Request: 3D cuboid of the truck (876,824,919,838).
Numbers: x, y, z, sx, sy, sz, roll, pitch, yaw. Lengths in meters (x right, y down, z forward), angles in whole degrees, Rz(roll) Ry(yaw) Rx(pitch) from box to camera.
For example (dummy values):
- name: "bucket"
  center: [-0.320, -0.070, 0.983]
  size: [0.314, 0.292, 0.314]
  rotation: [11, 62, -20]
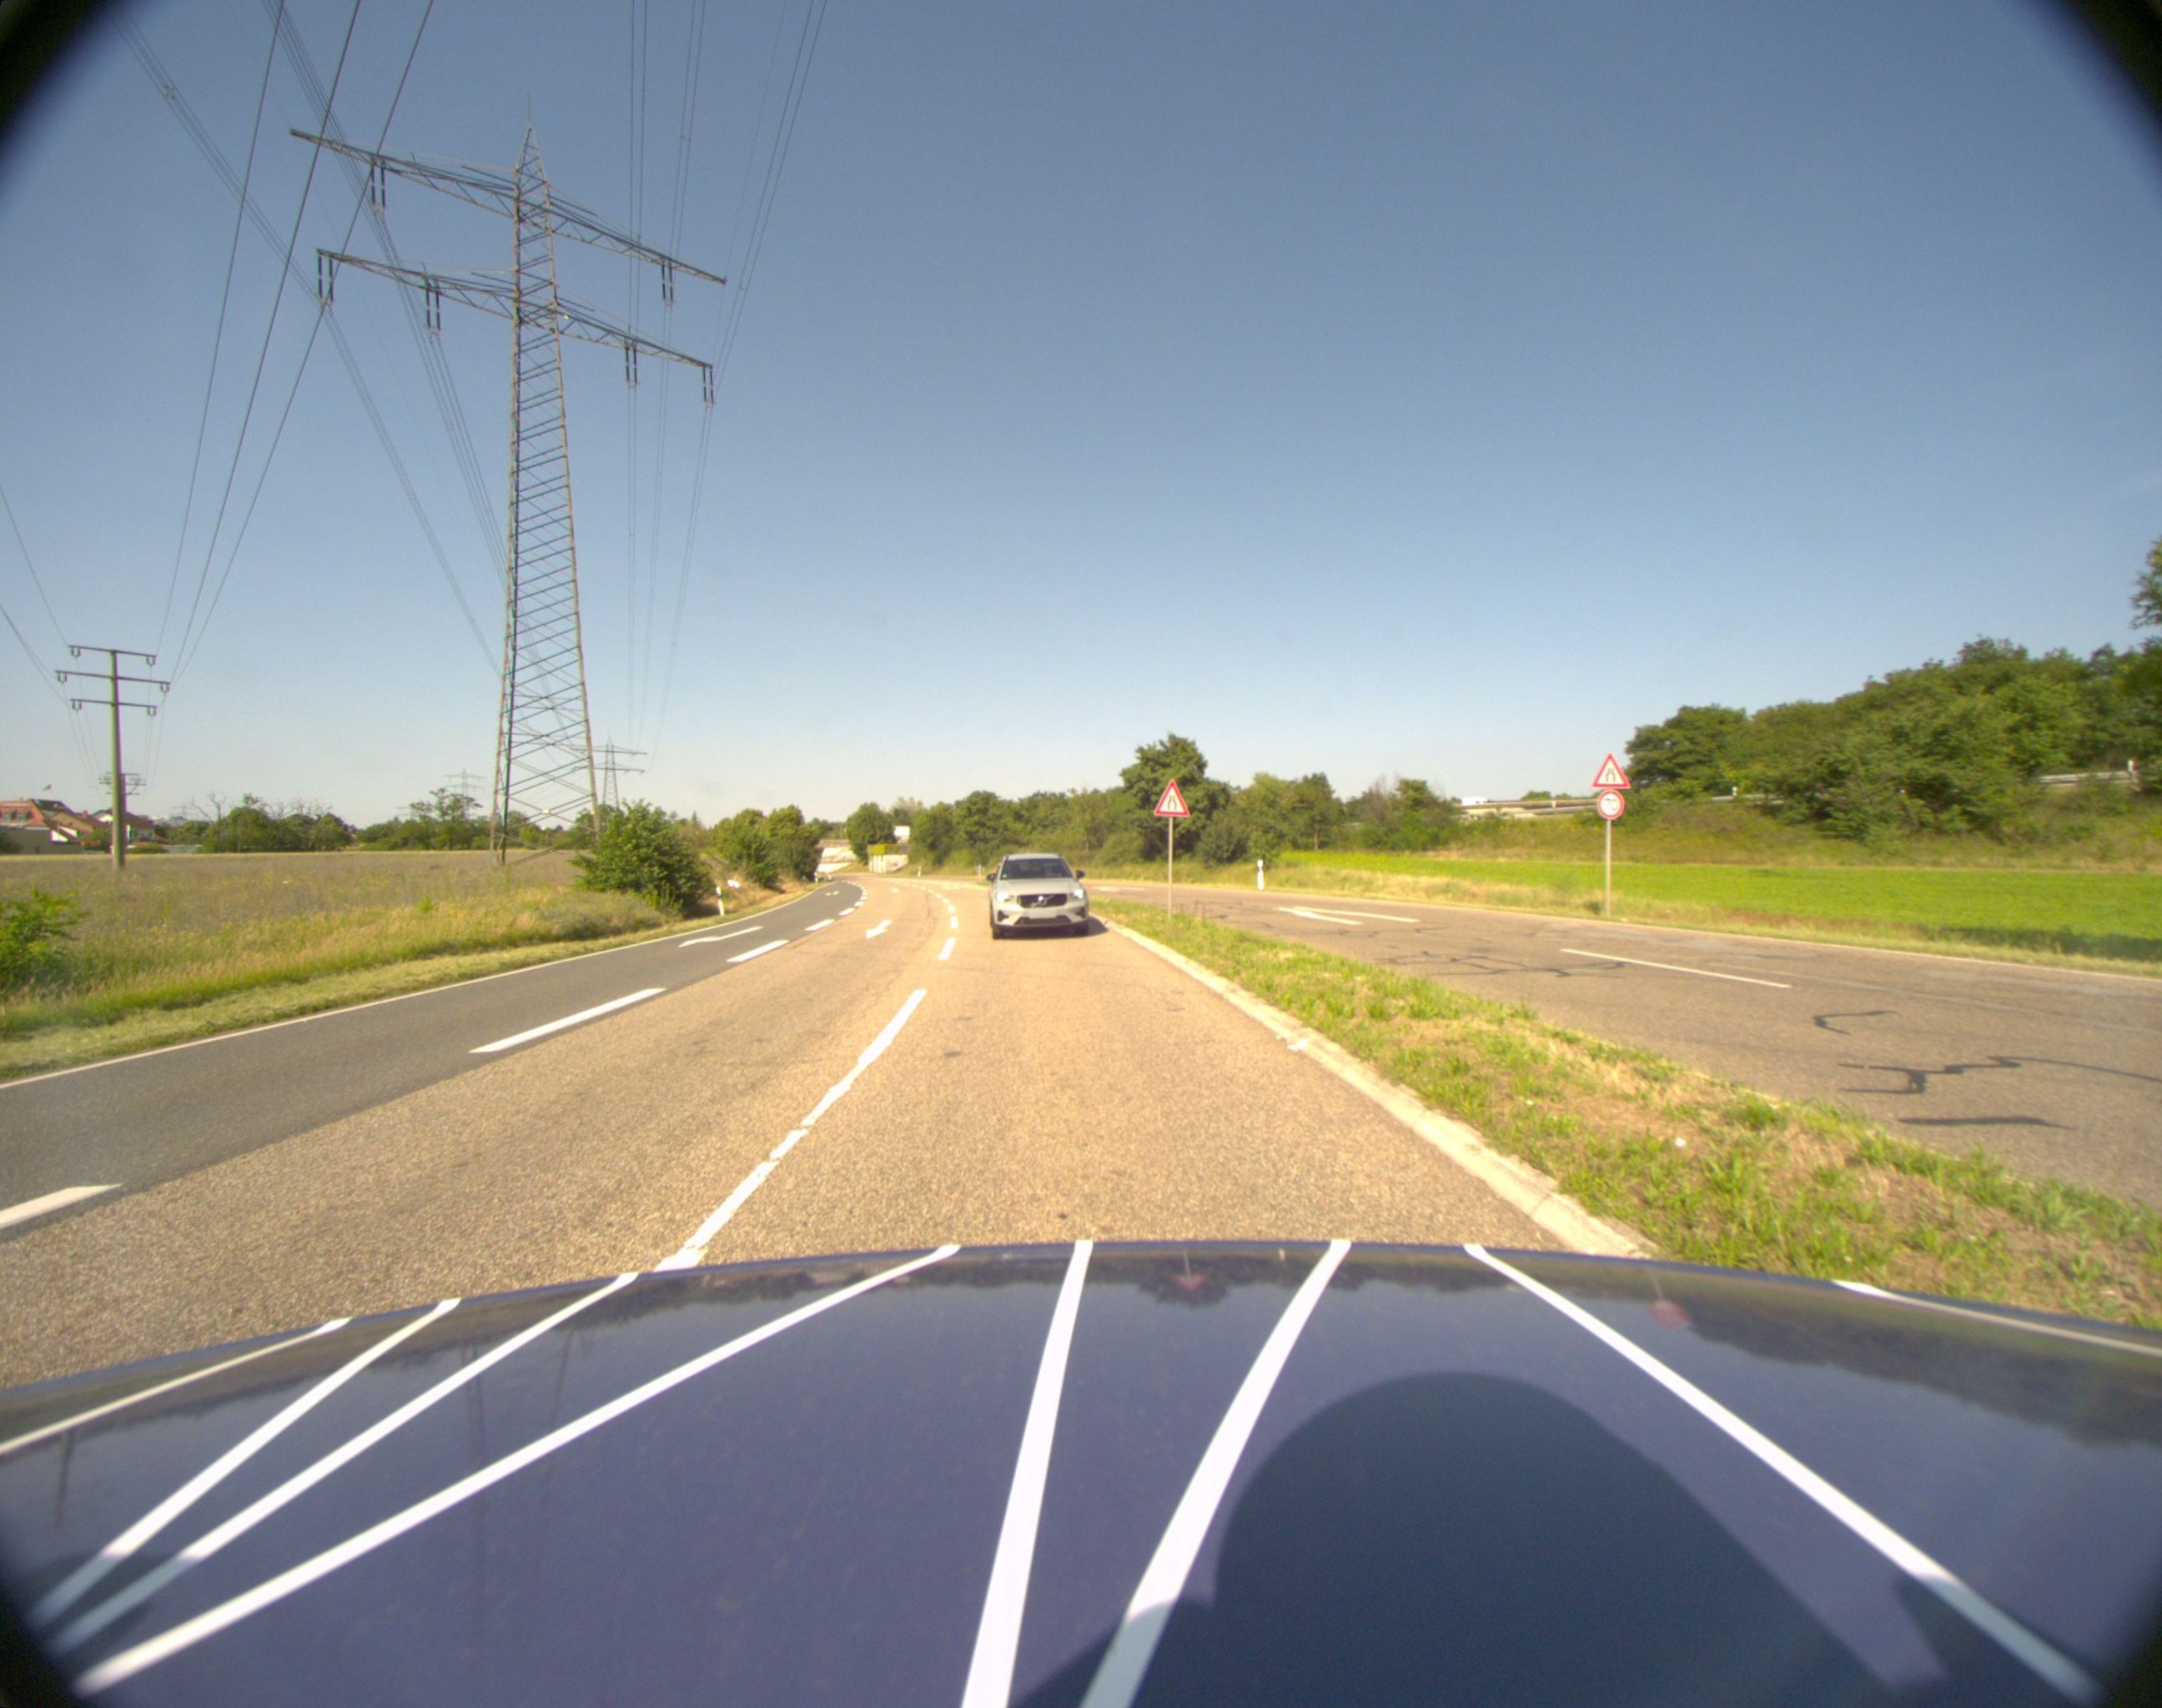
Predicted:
- name: "truck"
  center: [-44.980, -5.596, 186.189]
  size: [10.135, 3.011, 2.379]
  rotation: [-2, 1, 14]

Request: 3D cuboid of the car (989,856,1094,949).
- name: "car"
  center: [-0.925, 0.886, 15.607]
  size: [1.860, 1.609, 3.645]
  rotation: [-2, 0, -7]

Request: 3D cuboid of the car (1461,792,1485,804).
- name: "car"
  center: [96.114, -13.768, 186.263]
  size: [2.276, 2.506, 4.678]
  rotation: [-3, 1, -31]
